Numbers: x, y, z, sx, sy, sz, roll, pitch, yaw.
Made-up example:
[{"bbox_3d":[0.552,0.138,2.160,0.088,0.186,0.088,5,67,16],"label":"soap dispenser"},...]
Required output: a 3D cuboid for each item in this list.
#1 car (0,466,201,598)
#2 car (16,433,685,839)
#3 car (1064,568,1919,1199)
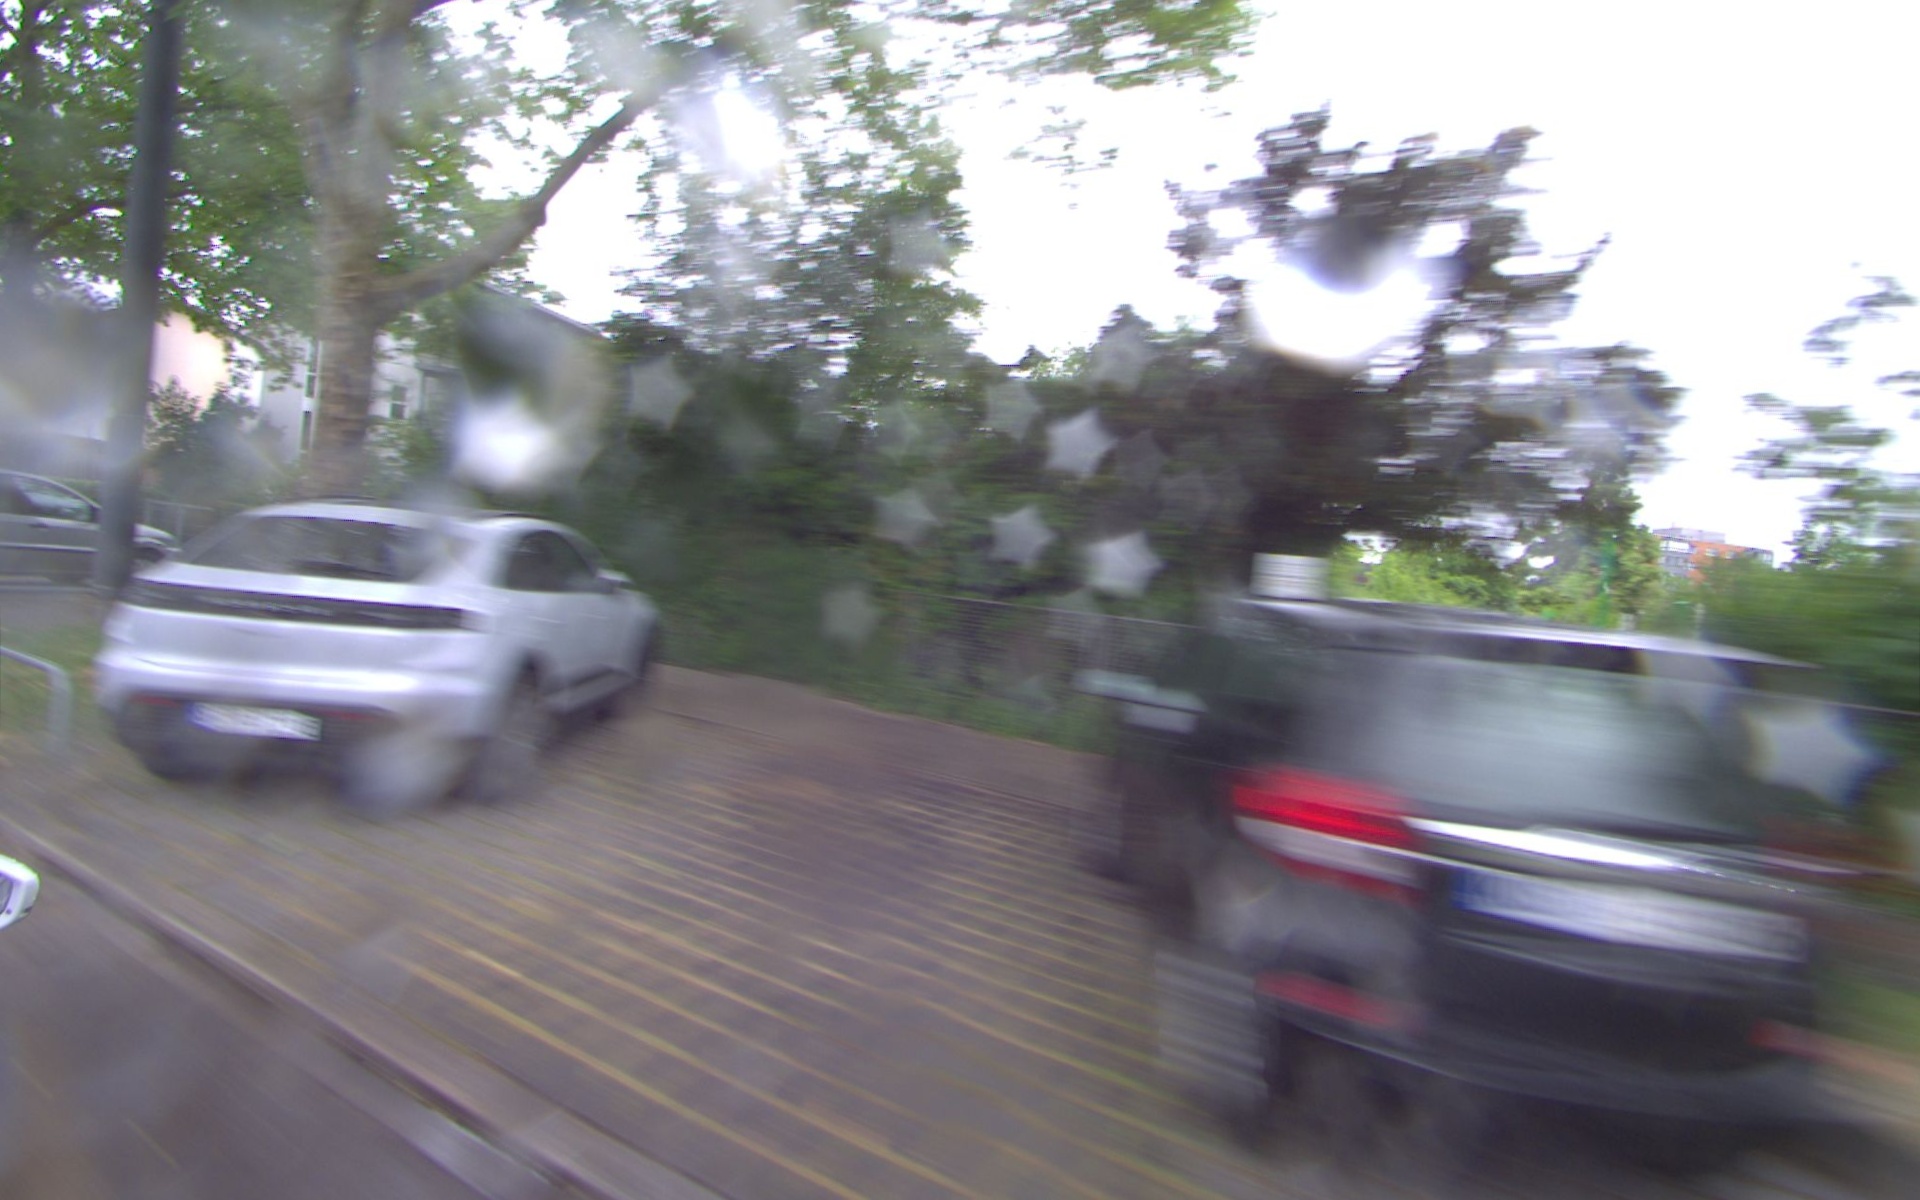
[{"bbox_3d":[-12.395,-0.931,12.984,1.589,1.587,3.864,7,2,18],"label":"car"},{"bbox_3d":[-3.484,0.138,7.085,1.959,1.689,4.769,6,1,-4],"label":"car"},{"bbox_3d":[1.505,0.782,4.103,1.589,1.586,3.711,6,1,-1],"label":"car"}]
